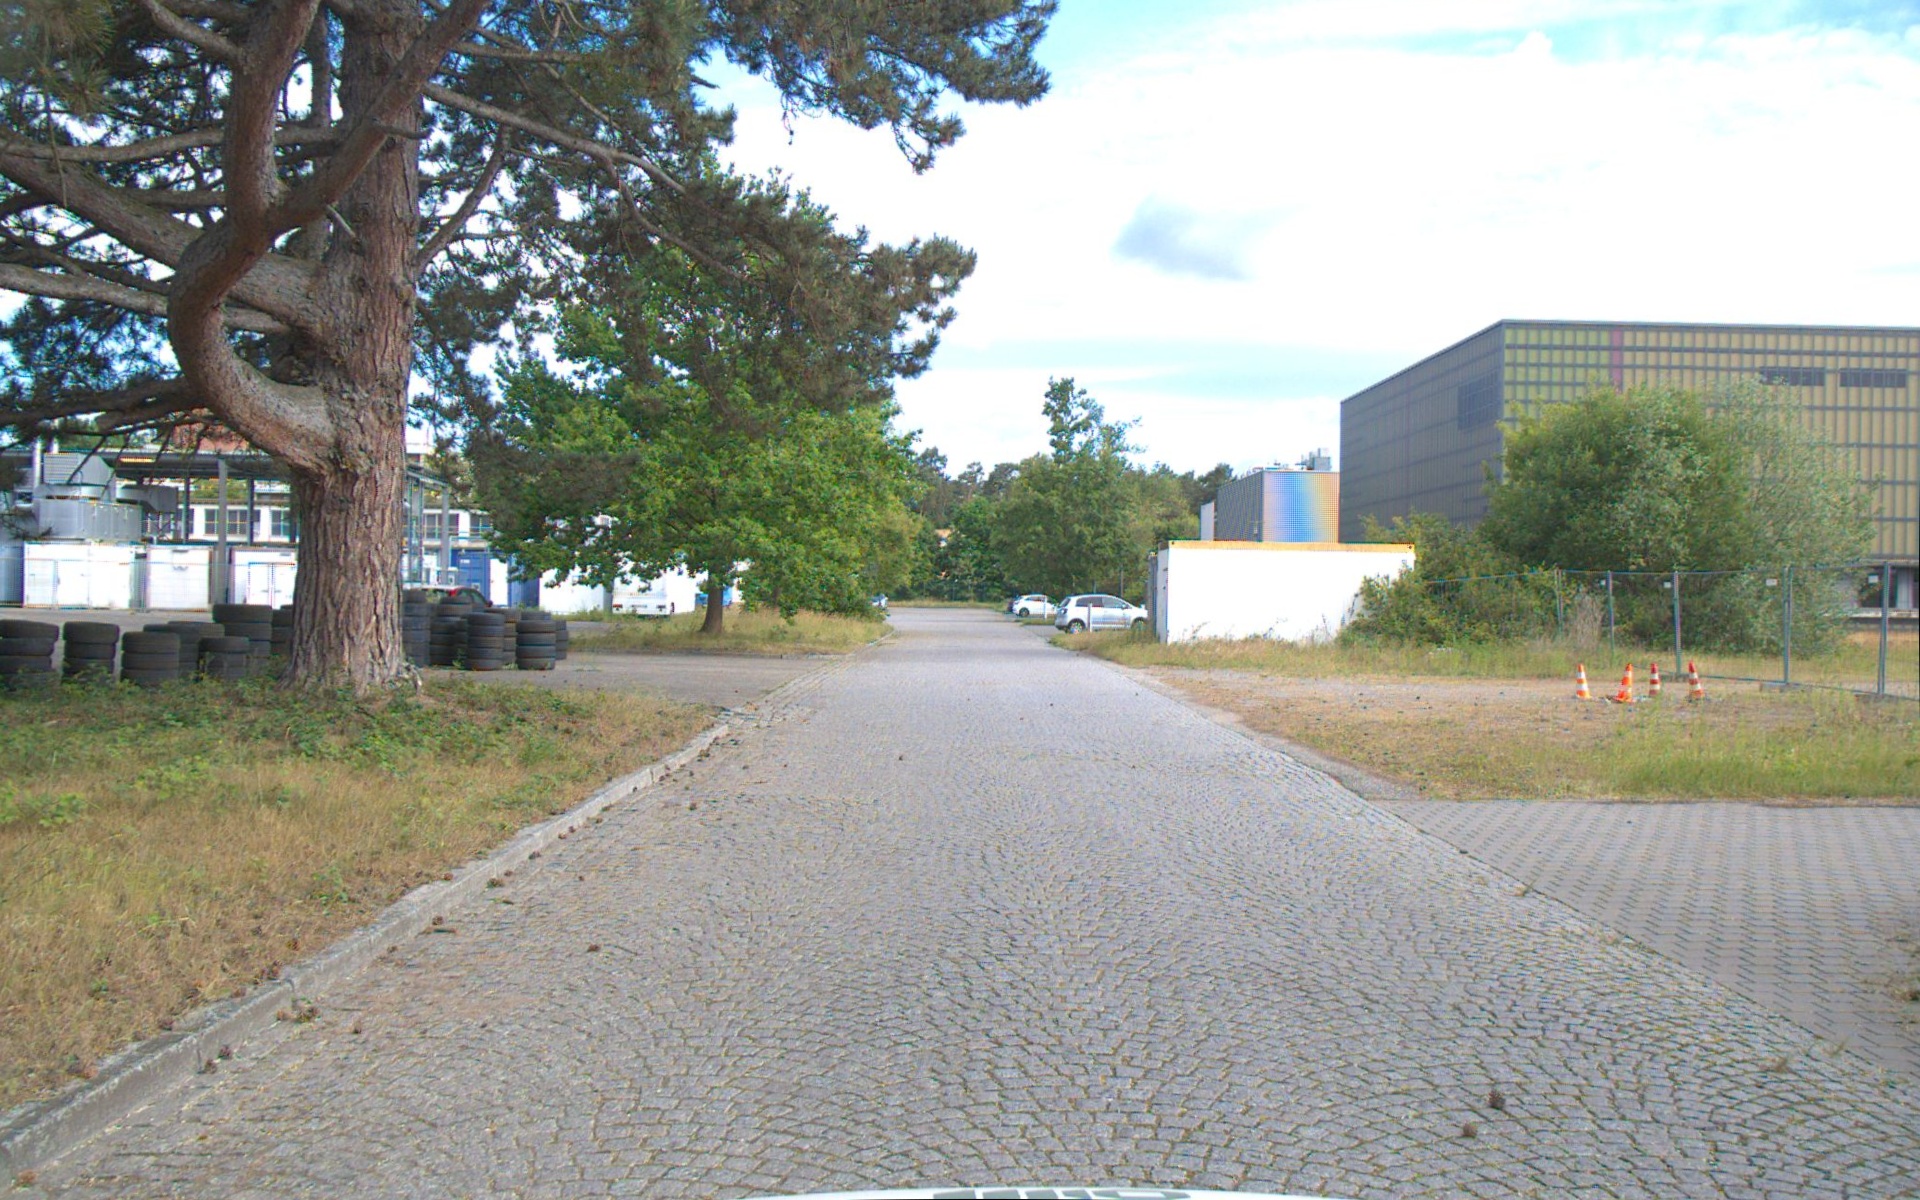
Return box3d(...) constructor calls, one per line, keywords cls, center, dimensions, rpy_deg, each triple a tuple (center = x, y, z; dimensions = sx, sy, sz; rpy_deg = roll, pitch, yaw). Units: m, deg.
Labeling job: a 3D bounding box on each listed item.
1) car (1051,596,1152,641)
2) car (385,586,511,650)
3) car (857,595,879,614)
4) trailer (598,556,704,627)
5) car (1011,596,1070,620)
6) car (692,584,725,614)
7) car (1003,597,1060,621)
box3d(cls="car", center=(5.590, 0.716, 65.575), dimensions=(3.773, 1.683, 1.685), rpy_deg=(1, 0, -3))
box3d(cls="car", center=(-12.490, 0.427, 40.577), dimensions=(1.729, 1.478, 3.490), rpy_deg=(1, 0, 5))
box3d(cls="car", center=(-7.229, 0.337, 130.626), dimensions=(1.700, 1.495, 4.043), rpy_deg=(1, 0, -3))
box3d(cls="trailer", center=(-14.425, -0.400, 78.007), dimensions=(3.093, 3.121, 8.785), rpy_deg=(1, 0, 1))
box3d(cls="car", center=(5.417, 0.554, 111.723), dimensions=(3.942, 1.528, 1.548), rpy_deg=(1, 0, 0))
box3d(cls="car", center=(-17.995, -0.088, 118.481), dimensions=(1.887, 2.083, 4.598), rpy_deg=(1, 0, -3))
box3d(cls="car", center=(5.051, 0.665, 117.273), dimensions=(3.907, 1.629, 1.728), rpy_deg=(1, 0, -3))
